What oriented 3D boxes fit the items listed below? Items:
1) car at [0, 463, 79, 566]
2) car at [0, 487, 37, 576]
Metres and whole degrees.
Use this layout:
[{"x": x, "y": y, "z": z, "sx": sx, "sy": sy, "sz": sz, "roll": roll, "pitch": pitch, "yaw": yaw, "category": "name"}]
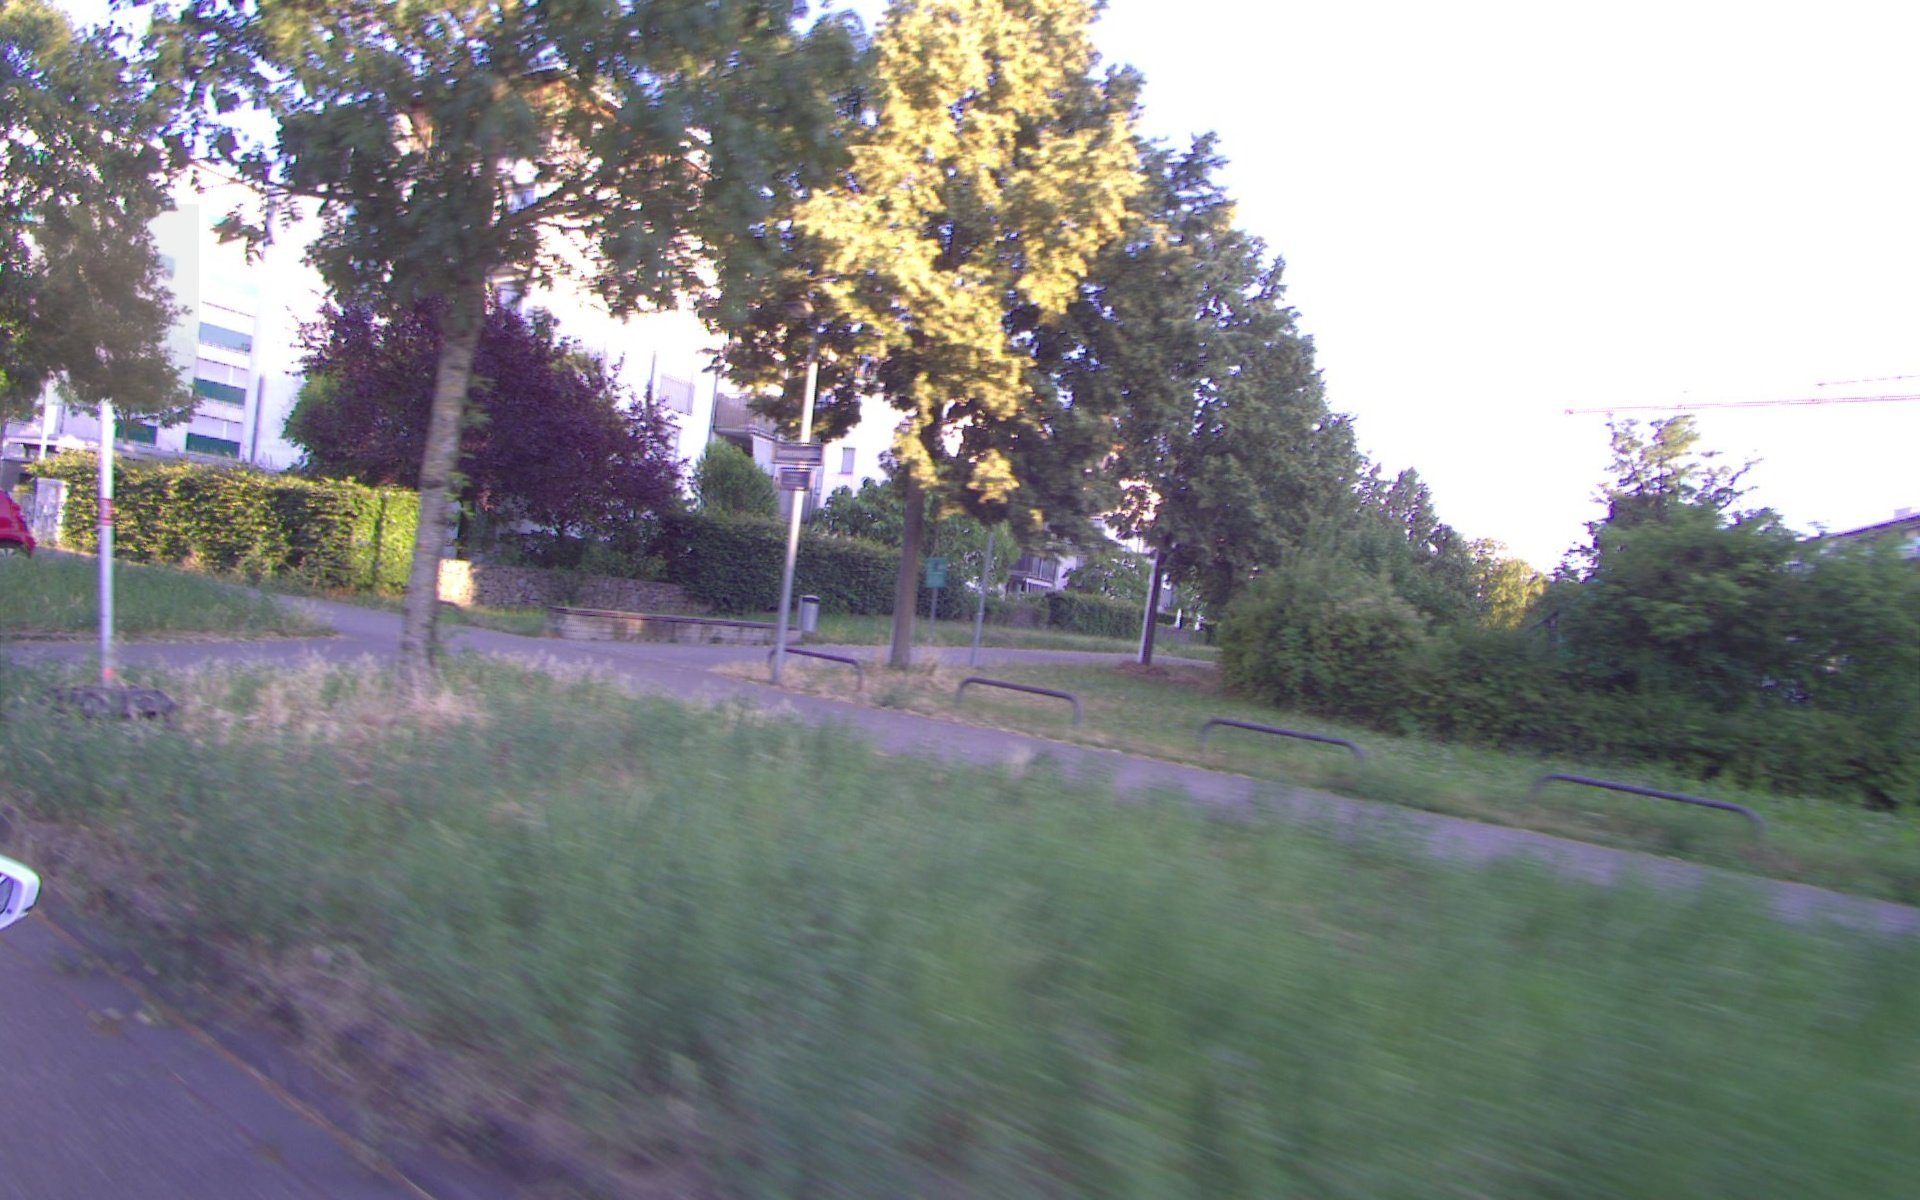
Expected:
[{"x": -16.297, "y": -1.543, "z": 15.401, "sx": 1.650, "sy": 1.527, "sz": 3.809, "roll": 7, "pitch": 0, "yaw": 29, "category": "car"}, {"x": -18.397, "y": -1.404, "z": 16.938, "sx": 1.650, "sy": 1.527, "sz": 3.809, "roll": 7, "pitch": 0, "yaw": 29, "category": "car"}]
